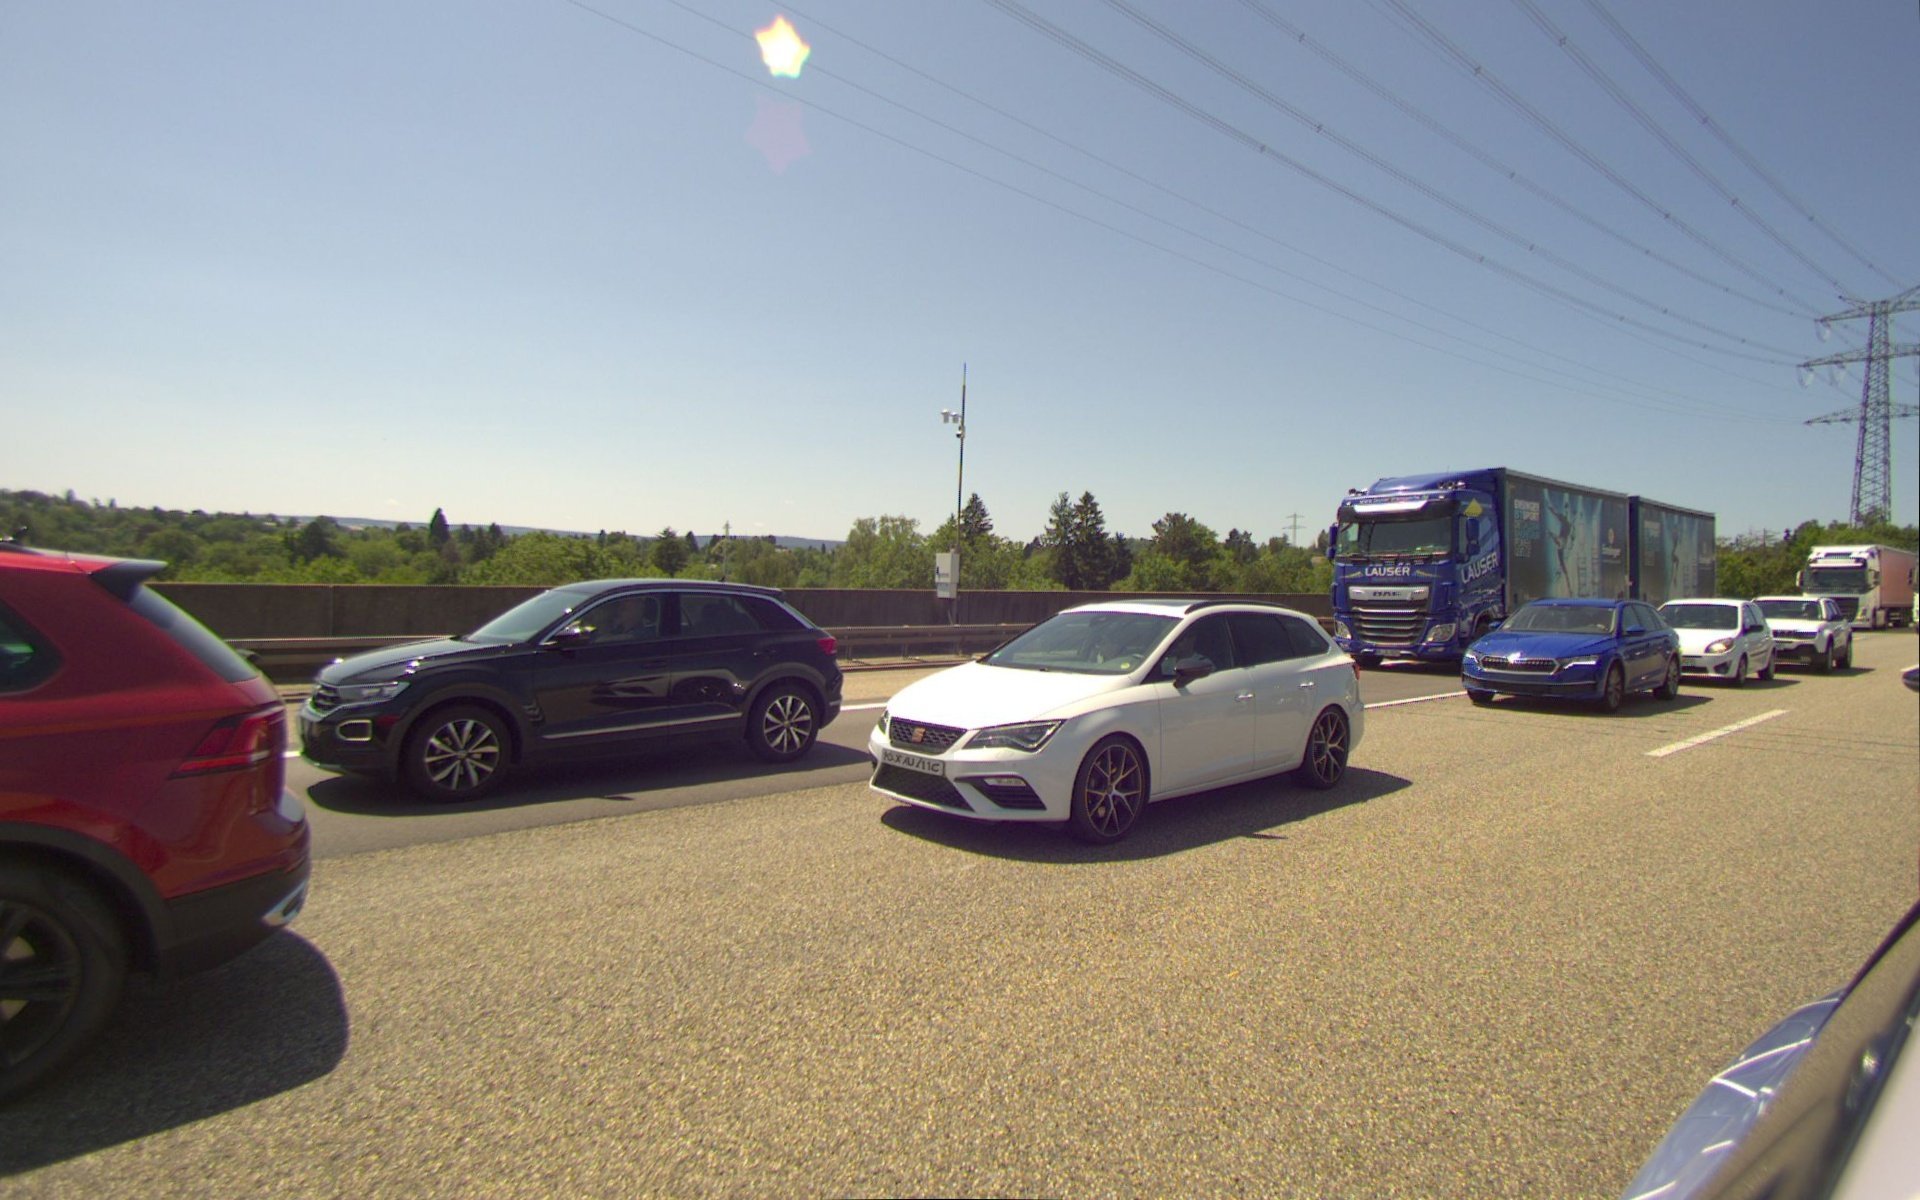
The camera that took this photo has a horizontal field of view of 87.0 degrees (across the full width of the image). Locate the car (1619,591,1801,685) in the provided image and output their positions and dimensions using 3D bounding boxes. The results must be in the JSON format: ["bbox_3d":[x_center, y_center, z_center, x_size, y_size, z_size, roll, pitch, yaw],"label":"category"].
[{"bbox_3d":[13.396,0.588,17.994,4.071,1.470,1.712,-1,1,-40],"label":"car"}]

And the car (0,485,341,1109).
[{"bbox_3d":[-4.155,0.552,2.563,4.210,1.700,1.711,-1,0,-41],"label":"car"}]

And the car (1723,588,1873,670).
[{"bbox_3d":[17.408,0.518,20.966,4.071,1.529,1.712,-1,0,-40],"label":"car"}]

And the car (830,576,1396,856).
[{"bbox_3d":[1.343,0.614,7.410,4.352,1.470,1.711,0,0,-41],"label":"car"}]

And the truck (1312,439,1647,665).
[{"bbox_3d":[11.832,-0.909,22.346,10.210,3.999,2.857,-1,0,-40],"label":"truck"}]

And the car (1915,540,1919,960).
[{"bbox_3d":[5.893,0.591,4.722,3.863,1.700,1.711,-1,0,-41],"label":"car"}]

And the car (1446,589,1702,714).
[{"bbox_3d":[8.659,0.586,14.104,4.482,1.470,1.712,-1,1,-40],"label":"car"}]

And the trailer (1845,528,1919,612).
[{"bbox_3d":[50.054,-1.558,54.368,8.927,4.170,2.606,-1,0,-41],"label":"trailer"}]

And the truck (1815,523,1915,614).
[{"bbox_3d":[43.615,-1.466,48.689,8.121,4.038,2.606,-1,0,-41],"label":"truck"}]

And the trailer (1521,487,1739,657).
[{"bbox_3d":[18.972,-0.727,28.398,8.485,4.140,2.833,-1,0,-40],"label":"trailer"}]

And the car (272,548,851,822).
[{"bbox_3d":[-3.026,0.494,8.191,4.047,1.675,1.711,-1,0,-42],"label":"car"}]
